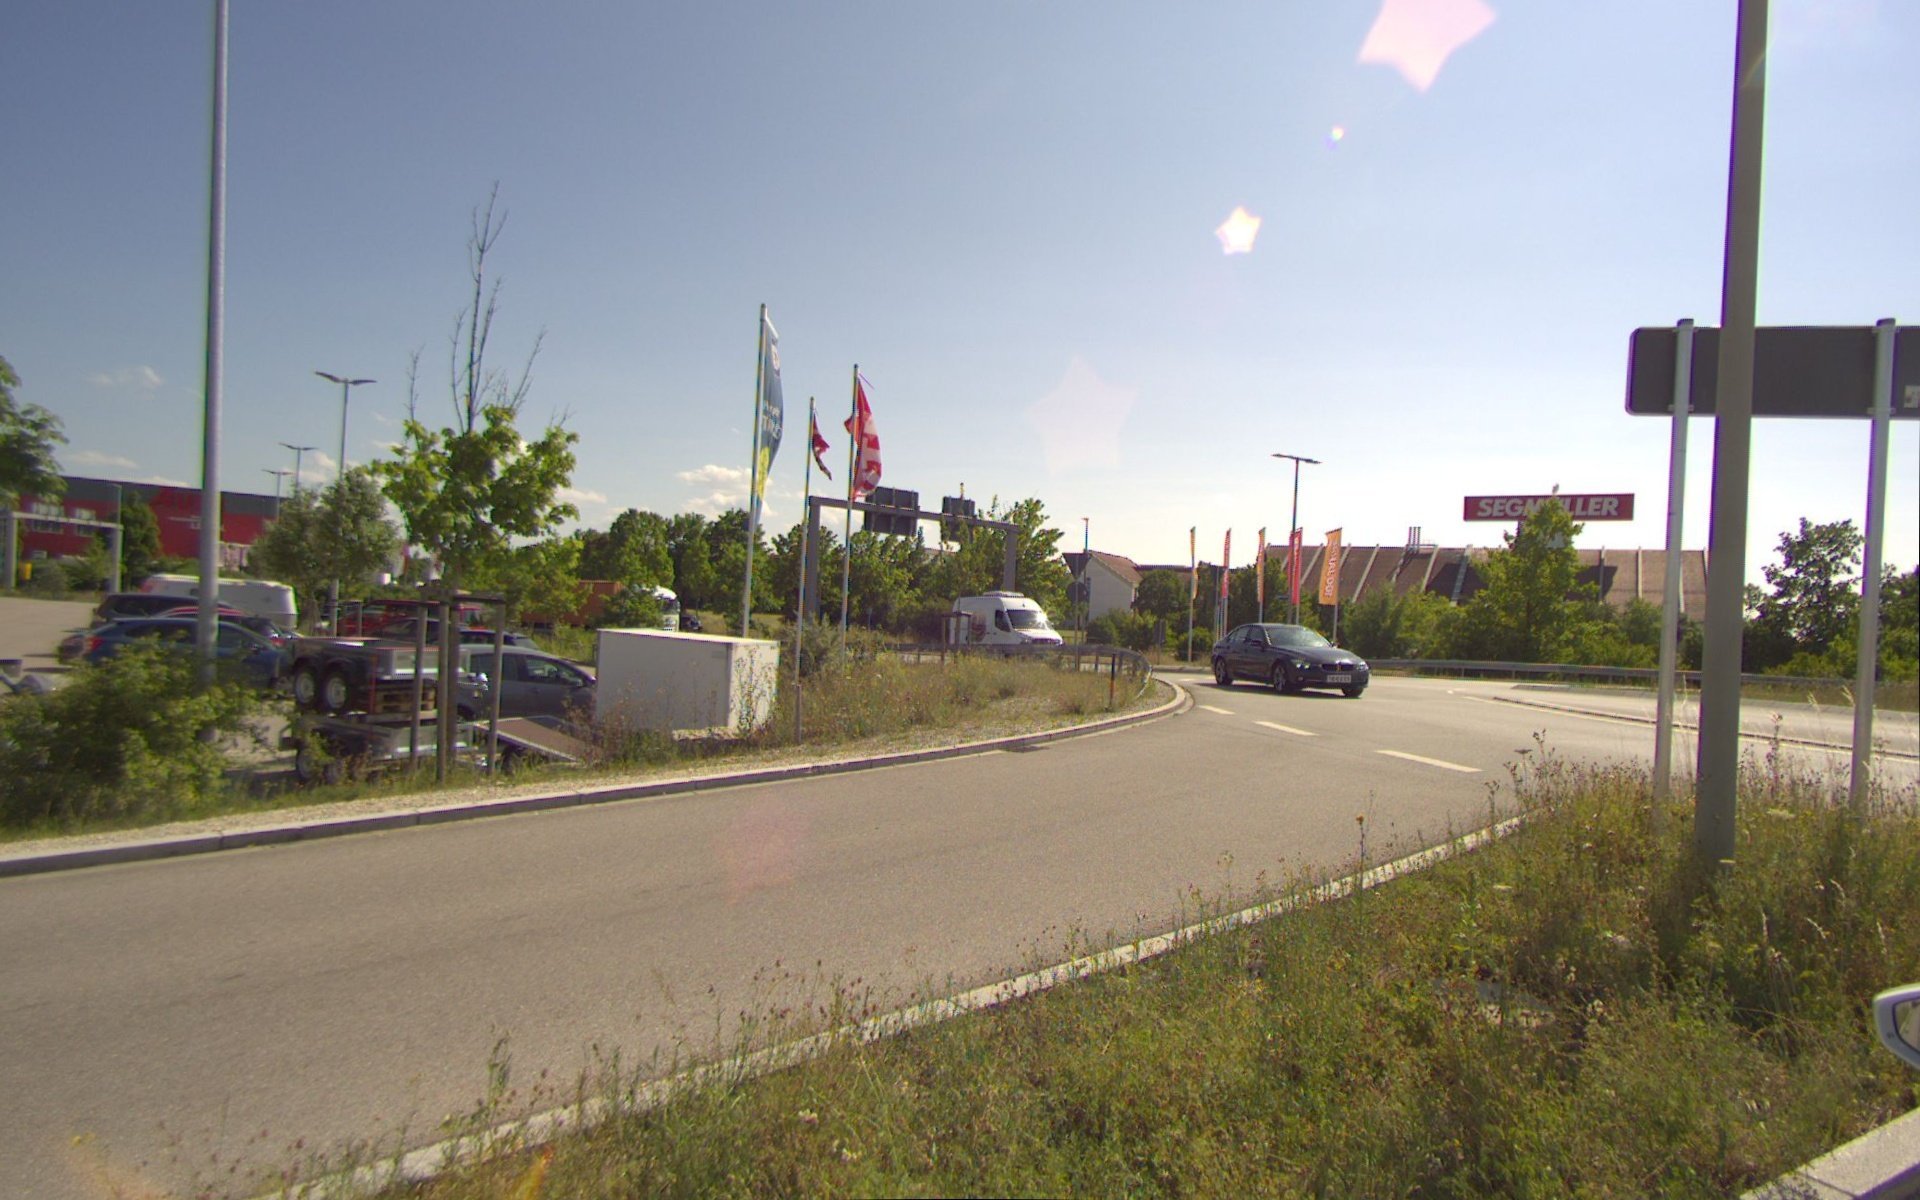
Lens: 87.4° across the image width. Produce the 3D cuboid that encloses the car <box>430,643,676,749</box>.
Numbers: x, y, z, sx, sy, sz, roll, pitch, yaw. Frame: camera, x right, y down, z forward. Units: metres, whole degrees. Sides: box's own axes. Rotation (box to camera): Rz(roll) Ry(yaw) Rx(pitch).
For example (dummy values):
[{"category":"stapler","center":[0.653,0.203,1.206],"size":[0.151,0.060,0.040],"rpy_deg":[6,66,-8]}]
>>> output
[{"category":"car","center":[-7.177,1.621,17.829],"size":[3.709,1.572,1.725],"rpy_deg":[2,0,-37]}]

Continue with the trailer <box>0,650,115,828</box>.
[{"category":"trailer","center":[-10.874,1.308,10.381],"size":[3.625,1.471,1.708],"rpy_deg":[6,1,21]}]

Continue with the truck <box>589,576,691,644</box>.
[{"category":"truck","center":[-21.147,0.634,66.353],"size":[6.316,4.161,2.659],"rpy_deg":[2,0,28]}]

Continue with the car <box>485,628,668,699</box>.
[{"category":"car","center":[-9.745,1.594,25.777],"size":[3.924,1.483,1.825],"rpy_deg":[4,-1,-3]}]

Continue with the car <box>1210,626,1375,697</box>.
[{"category":"car","center":[6.968,1.259,21.476],"size":[1.647,1.198,3.857],"rpy_deg":[2,0,-11]}]

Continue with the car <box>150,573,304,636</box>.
[{"category":"car","center":[-26.028,0.178,35.772],"size":[4.311,2.040,1.883],"rpy_deg":[2,0,-38]}]

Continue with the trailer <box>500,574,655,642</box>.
[{"category":"trailer","center":[-26.518,0.462,69.327],"size":[12.134,4.209,2.557],"rpy_deg":[2,0,28]}]

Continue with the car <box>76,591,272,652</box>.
[{"category":"car","center":[-20.872,0.583,26.908],"size":[3.959,1.483,1.808],"rpy_deg":[2,0,-34]}]

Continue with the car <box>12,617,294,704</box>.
[{"category":"car","center":[-15.115,1.099,19.044],"size":[3.967,1.483,1.805],"rpy_deg":[2,-2,-39]}]

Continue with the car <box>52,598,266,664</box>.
[{"category":"car","center":[-19.690,0.773,24.935],"size":[3.959,1.483,1.808],"rpy_deg":[2,0,-34]}]

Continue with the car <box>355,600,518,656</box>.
[{"category":"car","center":[-15.844,0.835,30.564],"size":[3.923,1.483,1.824],"rpy_deg":[2,0,-3]}]

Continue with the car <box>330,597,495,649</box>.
[{"category":"car","center":[-17.968,0.729,33.110],"size":[4.369,1.483,1.824],"rpy_deg":[2,0,-3]}]

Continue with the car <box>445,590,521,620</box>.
[{"category":"car","center":[-41.321,0.432,87.055],"size":[6.149,2.264,2.040],"rpy_deg":[3,0,18]}]

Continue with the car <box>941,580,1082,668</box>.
[{"category":"car","center":[1.784,0.817,37.536],"size":[2.062,2.960,6.084],"rpy_deg":[2,0,-32]}]

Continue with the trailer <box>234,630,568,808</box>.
[{"category":"trailer","center":[-7.132,1.388,12.862],"size":[3.625,1.795,1.807],"rpy_deg":[3,0,22]}]

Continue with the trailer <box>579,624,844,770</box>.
[{"category":"trailer","center":[-3.926,1.431,15.936],"size":[3.625,1.795,1.807],"rpy_deg":[4,1,21]}]

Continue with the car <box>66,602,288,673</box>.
[{"category":"car","center":[-18.216,0.882,23.632],"size":[3.959,1.483,1.808],"rpy_deg":[2,0,-34]}]
